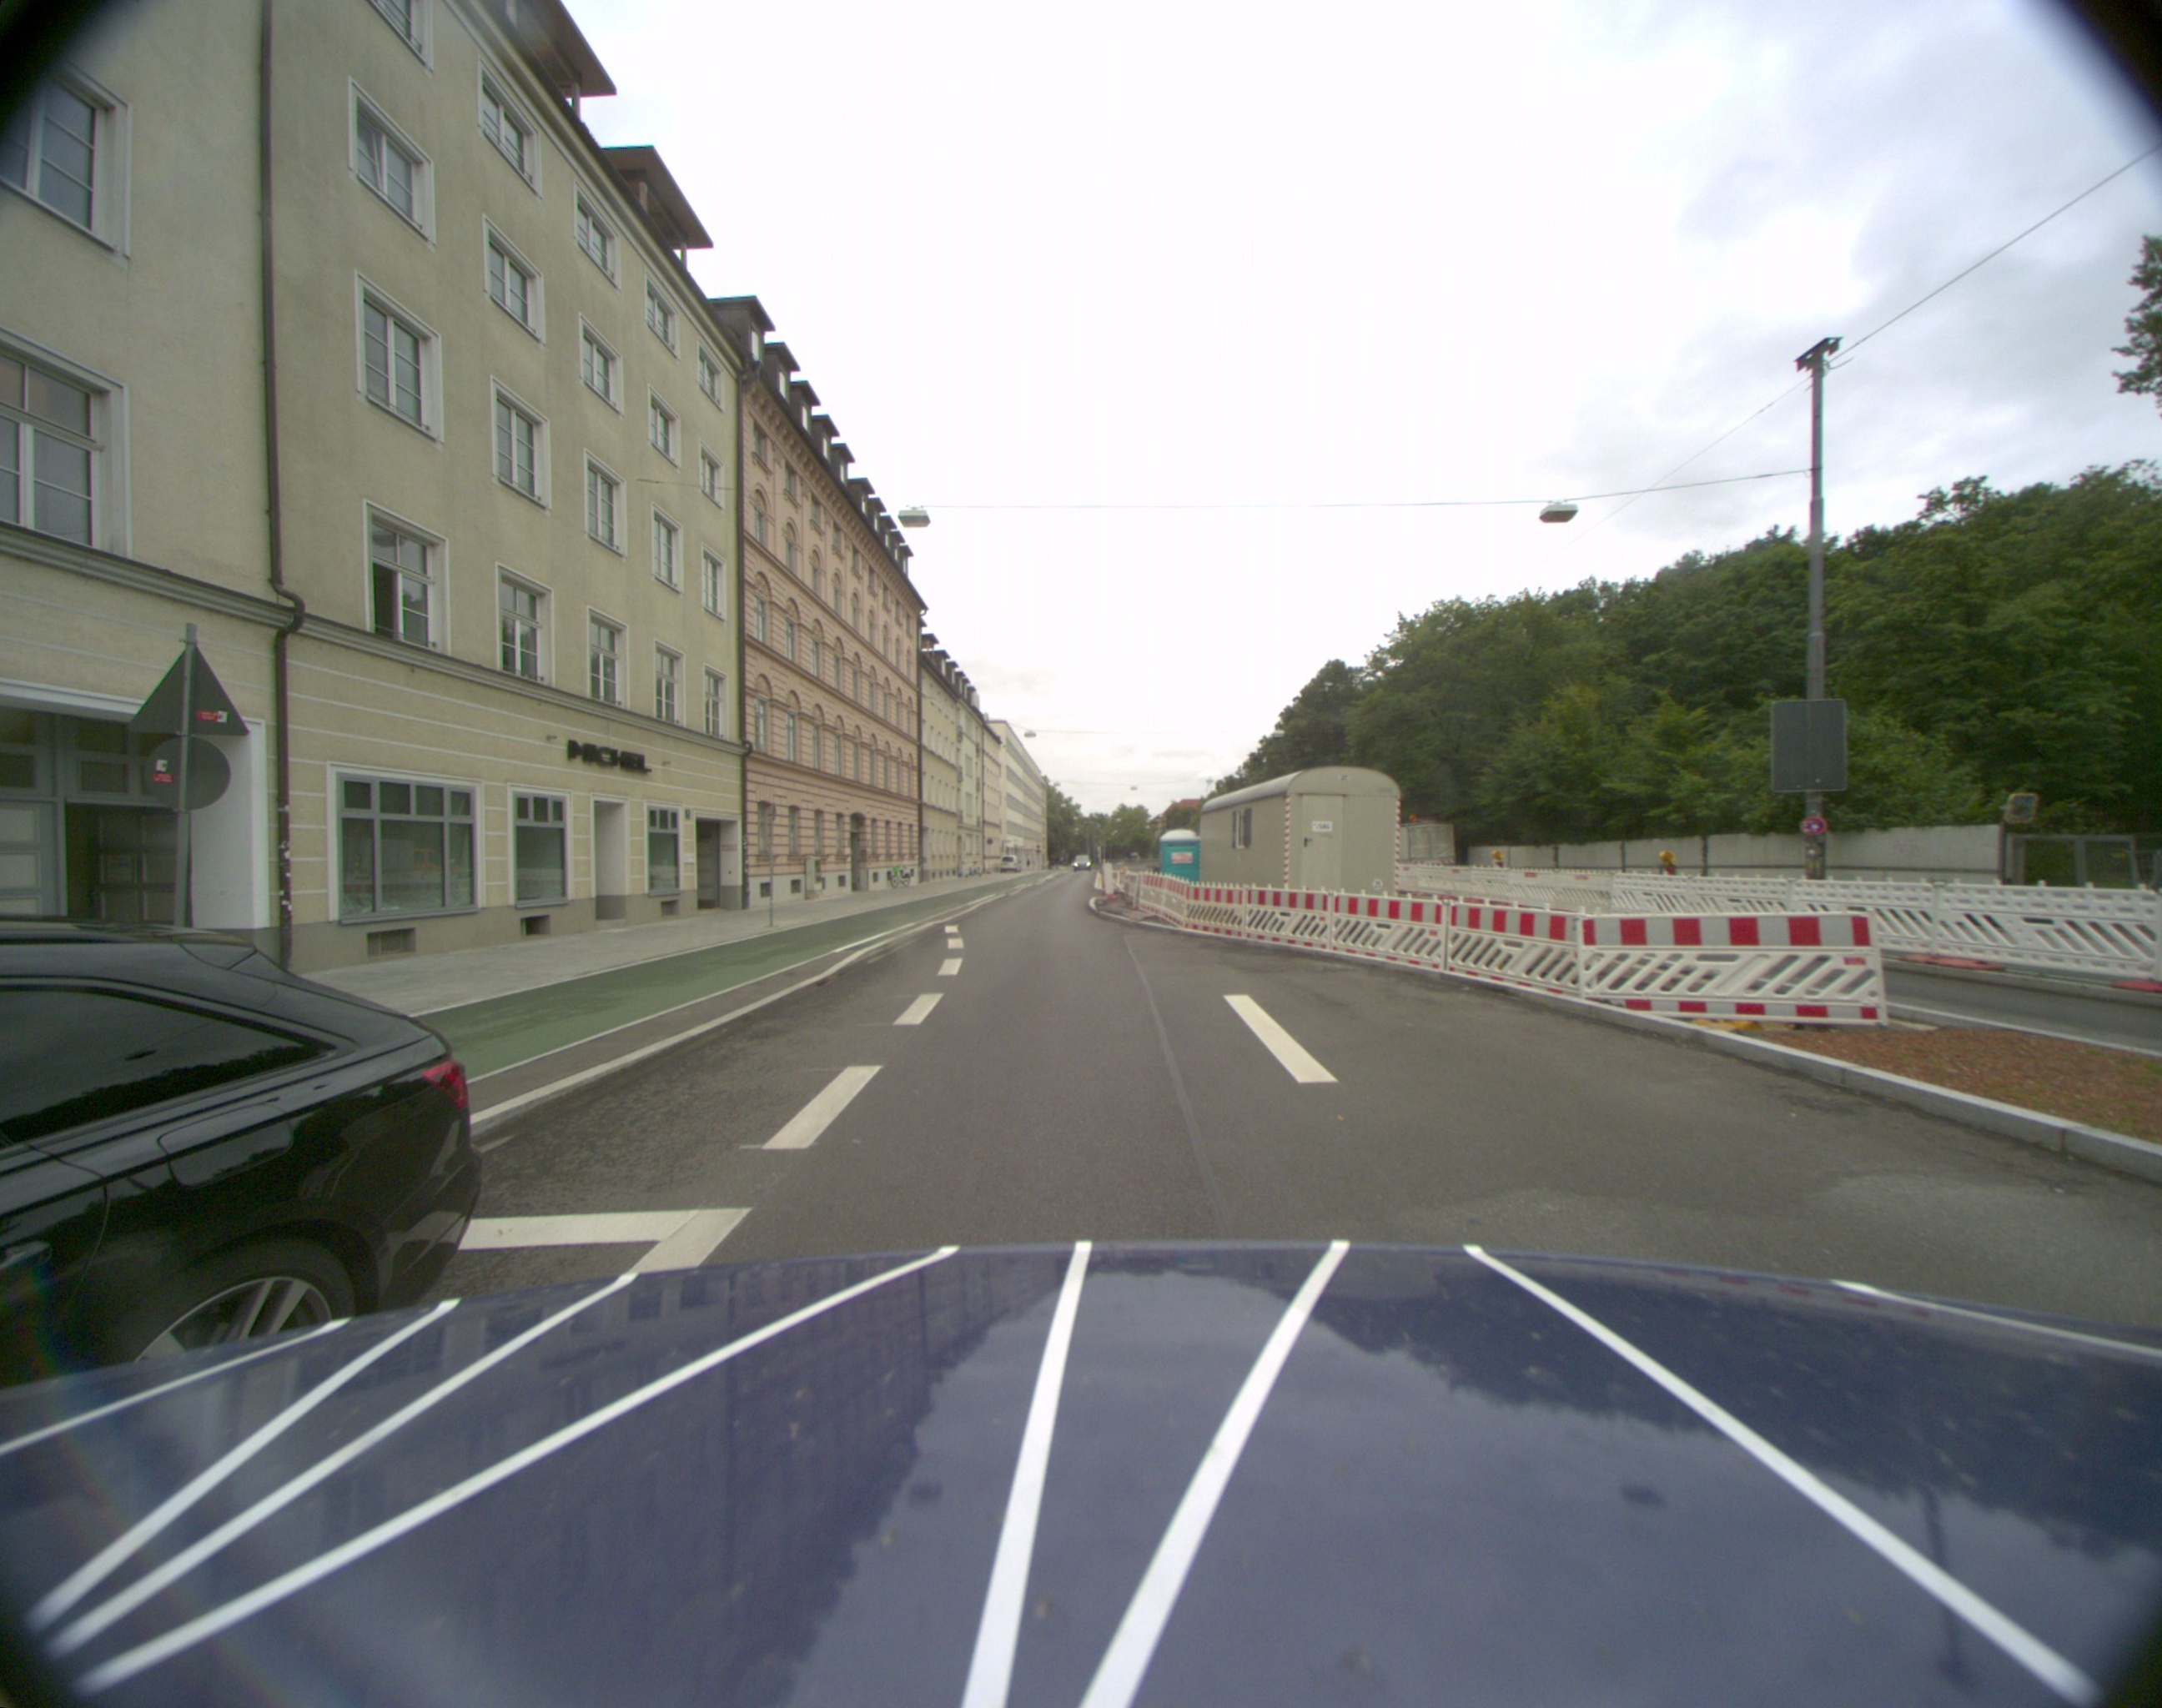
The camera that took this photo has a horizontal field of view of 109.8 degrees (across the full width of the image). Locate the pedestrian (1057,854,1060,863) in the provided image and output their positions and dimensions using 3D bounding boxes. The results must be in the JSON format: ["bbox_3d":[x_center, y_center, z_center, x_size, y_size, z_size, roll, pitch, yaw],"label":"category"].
[{"bbox_3d":[-4.372,0.914,149.466,0.514,1.825,0.602,-1,1,2],"label":"pedestrian"}]

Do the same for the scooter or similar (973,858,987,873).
[{"bbox_3d":[-8.437,0.986,63.384,1.121,1.224,0.246,1,1,-32],"label":"scooter or similar"}]

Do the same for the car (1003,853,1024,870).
[{"bbox_3d":[-7.160,0.774,81.249,1.737,1.739,4.436,0,0,2],"label":"car"}]

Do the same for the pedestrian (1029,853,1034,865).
[{"bbox_3d":[-6.852,0.737,105.242,0.666,1.626,0.737,0,0,1],"label":"pedestrian"}]

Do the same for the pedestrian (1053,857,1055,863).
[{"bbox_3d":[-5.290,1.222,149.327,0.368,1.239,0.470,-1,1,2],"label":"pedestrian"}]

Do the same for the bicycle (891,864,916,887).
[{"bbox_3d":[-9.342,1.124,40.052,0.426,1.167,1.734,0,0,19],"label":"bicycle"}]

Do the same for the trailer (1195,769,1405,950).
[{"bbox_3d":[4.497,0.093,17.376,2.233,3.224,7.516,-1,0,-3],"label":"trailer"}]

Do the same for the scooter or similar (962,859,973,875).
[{"bbox_3d":[-8.756,1.022,58.617,0.246,1.224,1.121,2,1,27],"label":"scooter or similar"}]

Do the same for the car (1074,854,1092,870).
[{"bbox_3d":[0.261,0.946,87.030,1.998,1.738,4.000,-2,0,0],"label":"car"}]

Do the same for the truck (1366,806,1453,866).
[{"bbox_3d":[16.207,-0.805,37.881,1.998,2.712,5.871,-1,0,2],"label":"truck"}]
